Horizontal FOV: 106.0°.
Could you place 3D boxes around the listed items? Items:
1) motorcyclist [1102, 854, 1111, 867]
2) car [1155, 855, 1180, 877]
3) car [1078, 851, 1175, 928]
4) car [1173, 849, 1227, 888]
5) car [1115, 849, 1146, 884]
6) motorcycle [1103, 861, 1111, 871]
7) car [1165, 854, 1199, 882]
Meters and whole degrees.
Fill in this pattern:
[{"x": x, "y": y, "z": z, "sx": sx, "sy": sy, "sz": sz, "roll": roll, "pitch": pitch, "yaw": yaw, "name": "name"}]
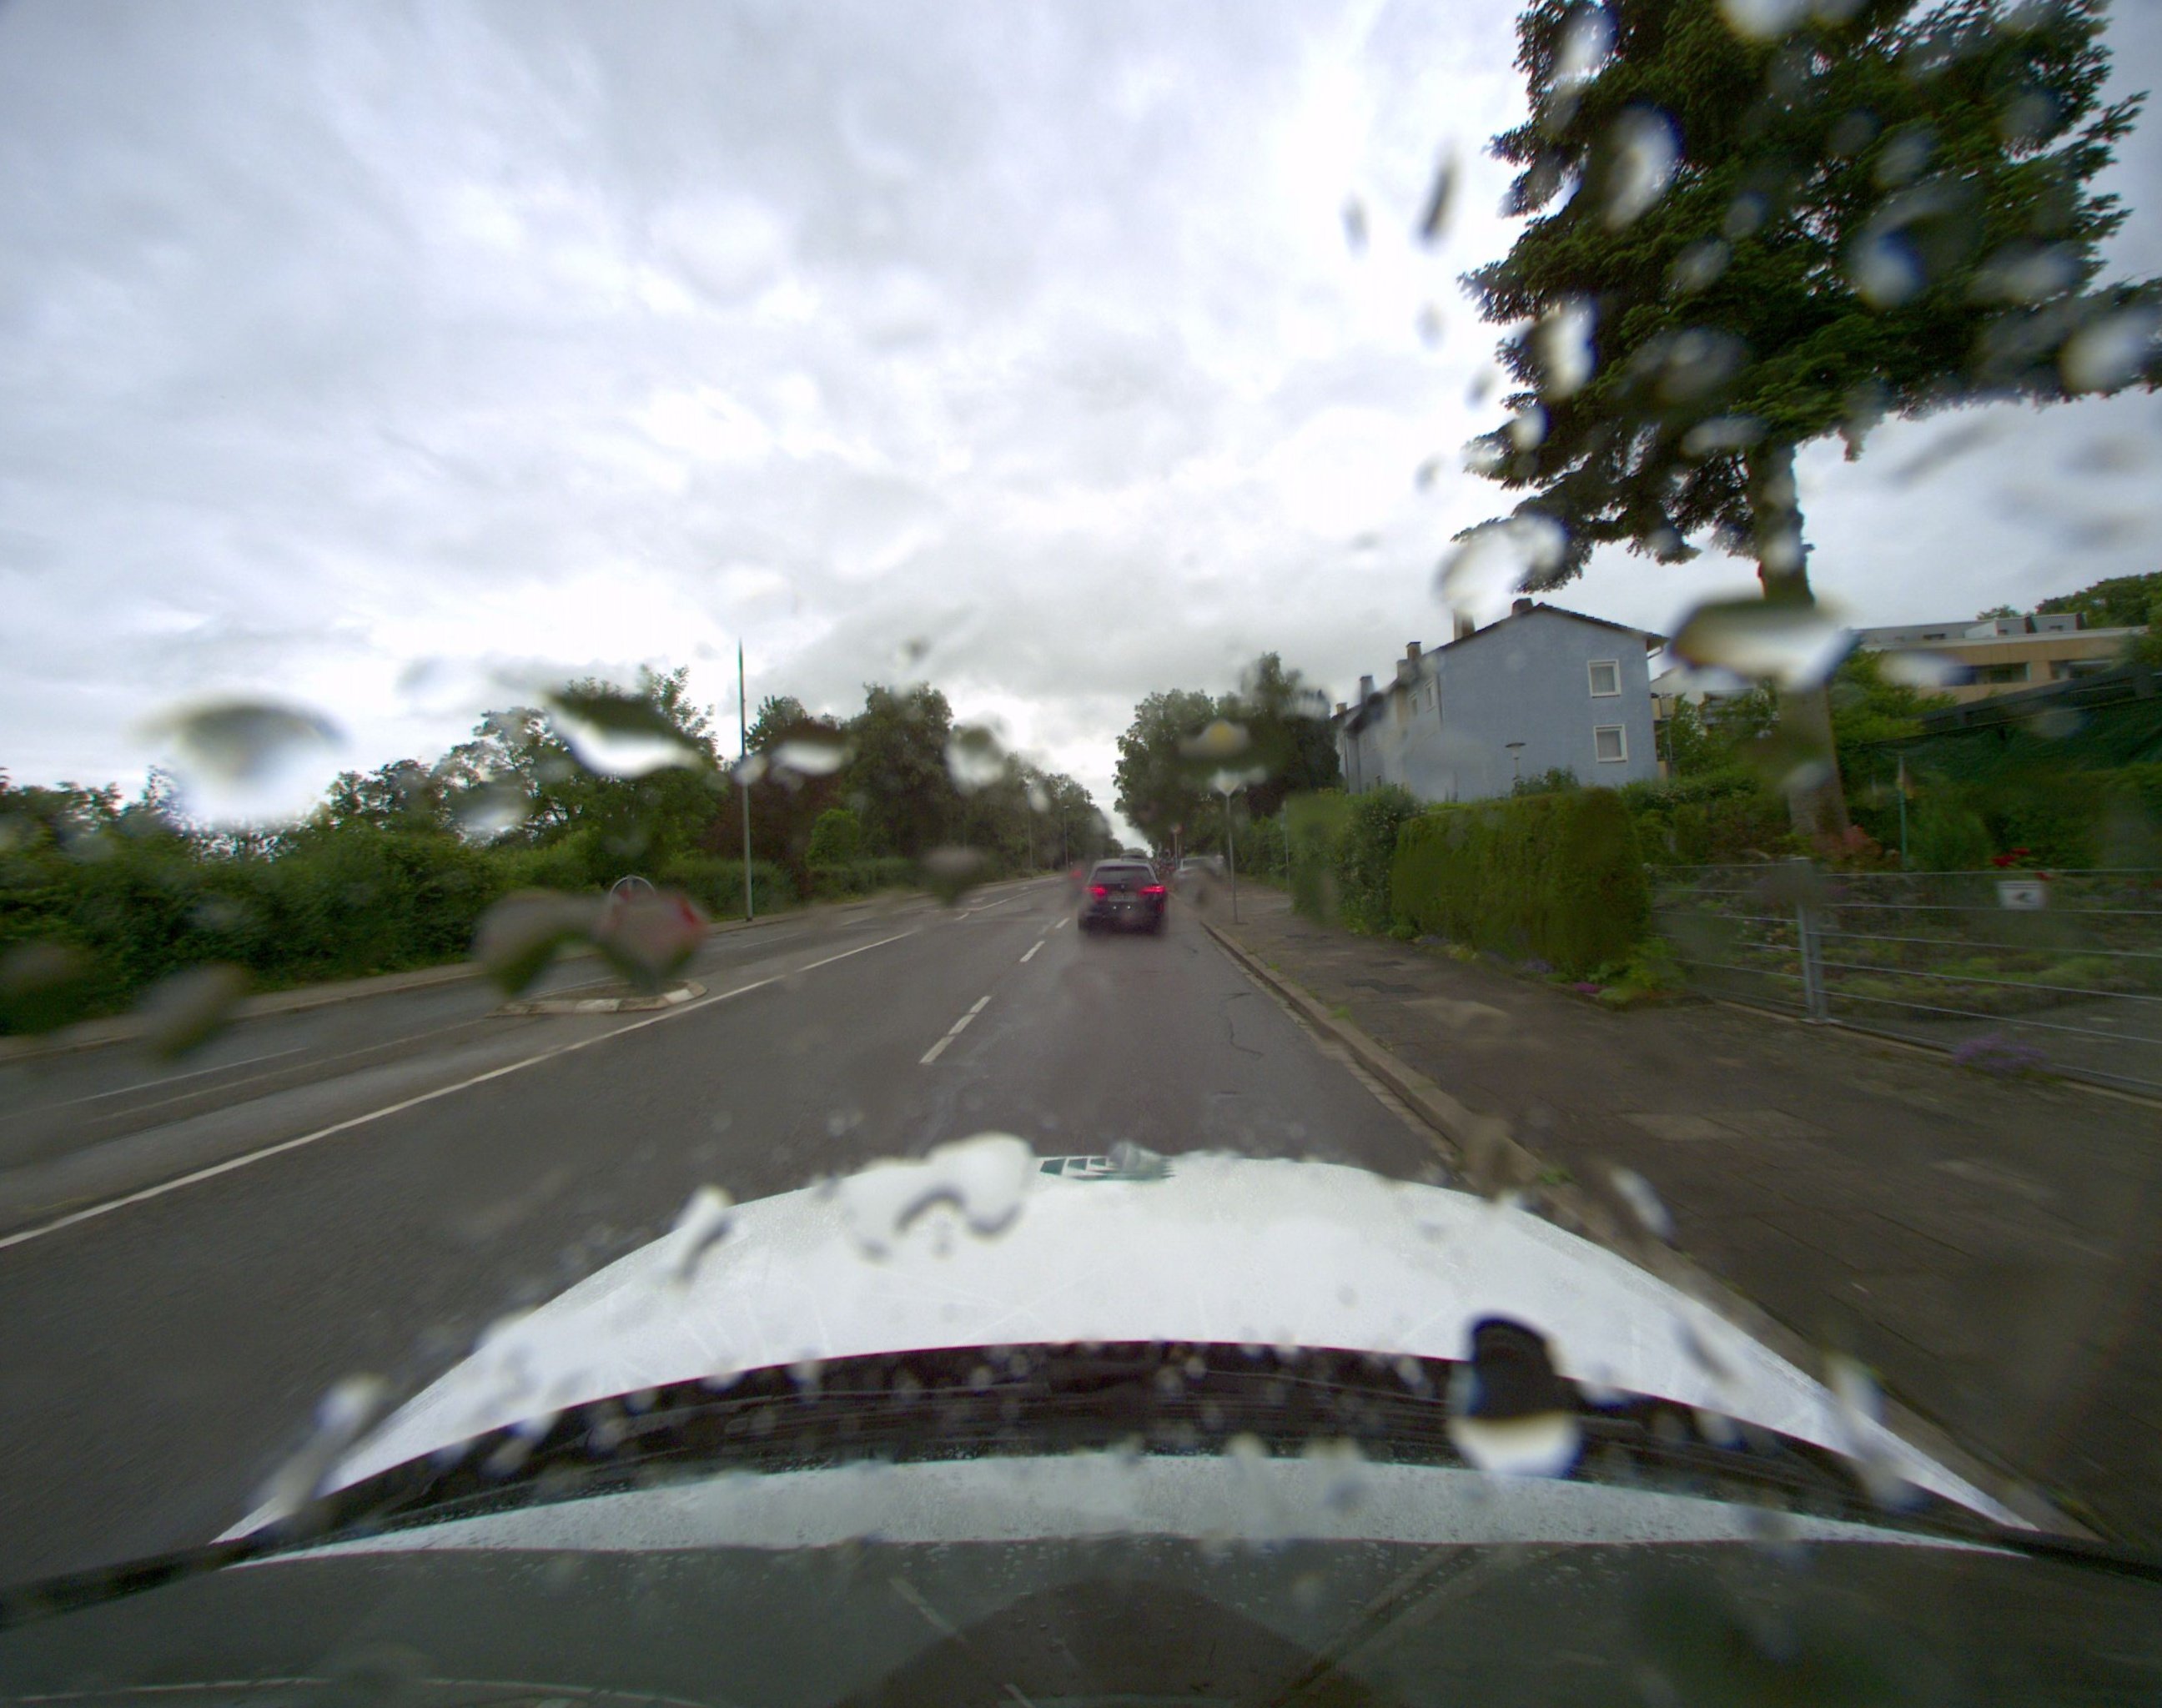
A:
[{"x": 2.961, "y": 0.753, "z": 93.826, "sx": 1.035, "sy": 1.567, "sz": 0.855, "roll": -1, "pitch": -1, "yaw": 1, "name": "motorcyclist"}, {"x": 6.412, "y": 0.847, "z": 60.608, "sx": 1.583, "sy": 1.486, "sz": 3.565, "roll": -3, "pitch": 0, "yaw": 3, "name": "car"}, {"x": 1.008, "y": 0.691, "z": 18.003, "sx": 1.889, "sy": 1.489, "sz": 4.003, "roll": -1, "pitch": 0, "yaw": 3, "name": "car"}, {"x": 4.953, "y": 0.577, "z": 34.450, "sx": 1.926, "sy": 1.442, "sz": 4.413, "roll": -3, "pitch": 0, "yaw": 5, "name": "car"}, {"x": 2.828, "y": 0.662, "z": 47.272, "sx": 1.623, "sy": 1.833, "sz": 4.002, "roll": -3, "pitch": 0, "yaw": 2, "name": "car"}, {"x": 2.967, "y": 1.404, "z": 93.759, "sx": 0.872, "sy": 1.124, "sz": 2.742, "roll": -1, "pitch": 0, "yaw": 2, "name": "motorcycle"}, {"x": 5.755, "y": 0.750, "z": 46.711, "sx": 1.583, "sy": 1.460, "sz": 3.565, "roll": -3, "pitch": 0, "yaw": 3, "name": "car"}]
